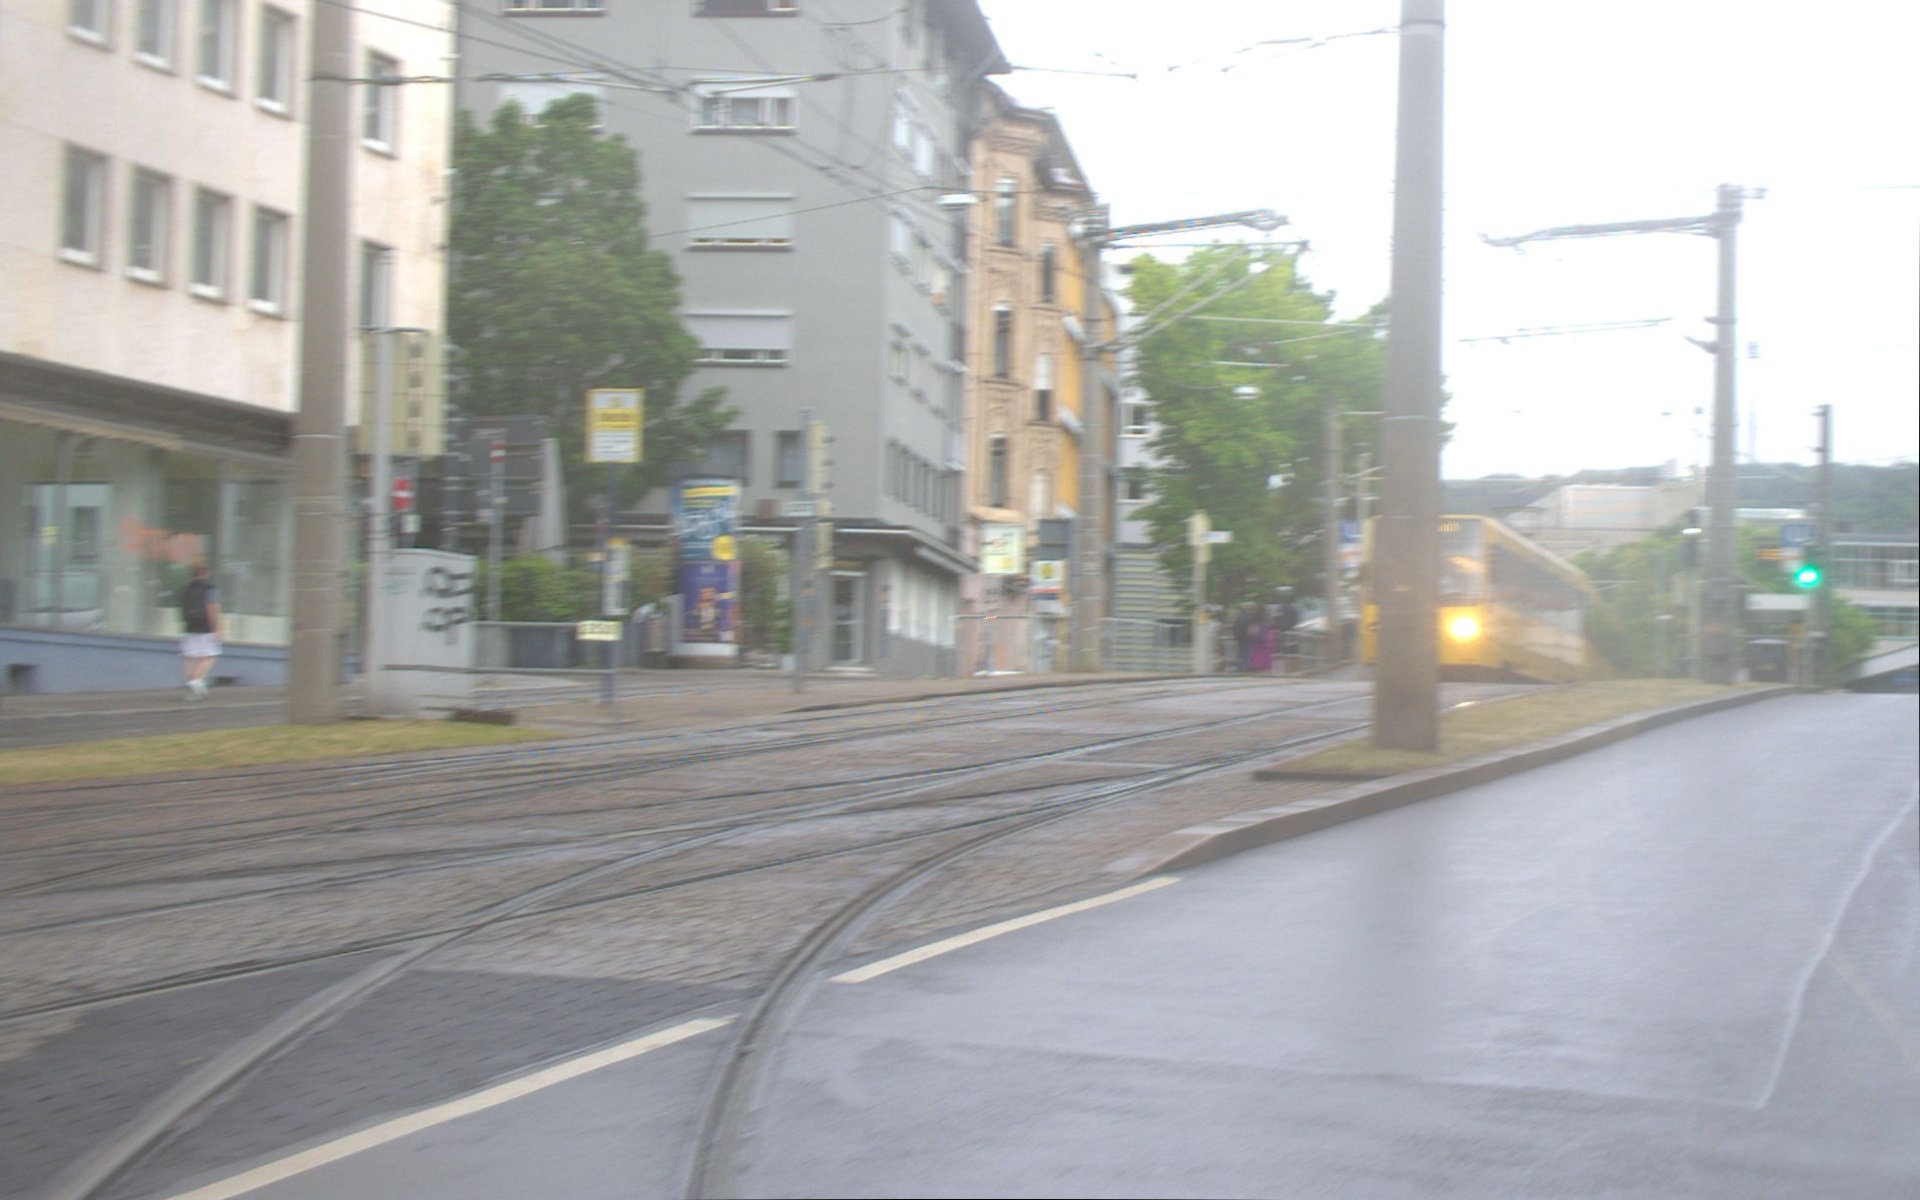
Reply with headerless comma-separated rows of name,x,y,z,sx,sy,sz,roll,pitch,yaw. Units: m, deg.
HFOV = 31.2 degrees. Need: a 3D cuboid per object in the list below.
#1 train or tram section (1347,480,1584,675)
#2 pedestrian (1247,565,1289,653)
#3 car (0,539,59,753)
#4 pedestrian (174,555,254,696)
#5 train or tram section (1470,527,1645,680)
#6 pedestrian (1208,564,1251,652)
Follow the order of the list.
train or tram section,11.690,-0.255,77.459,2.748,3.684,18.954,1,-1,16
pedestrian,6.293,0.173,70.279,0.733,1.784,0.696,0,0,16
car,-8.873,0.351,25.702,1.995,1.667,4.523,0,0,18
pedestrian,-9.269,0.315,42.717,0.597,1.732,0.909,0,0,16
train or tram section,16.872,0.285,95.752,2.748,3.684,18.954,1,-1,16
pedestrian,5.527,0.164,70.494,0.733,1.784,0.696,0,0,16
